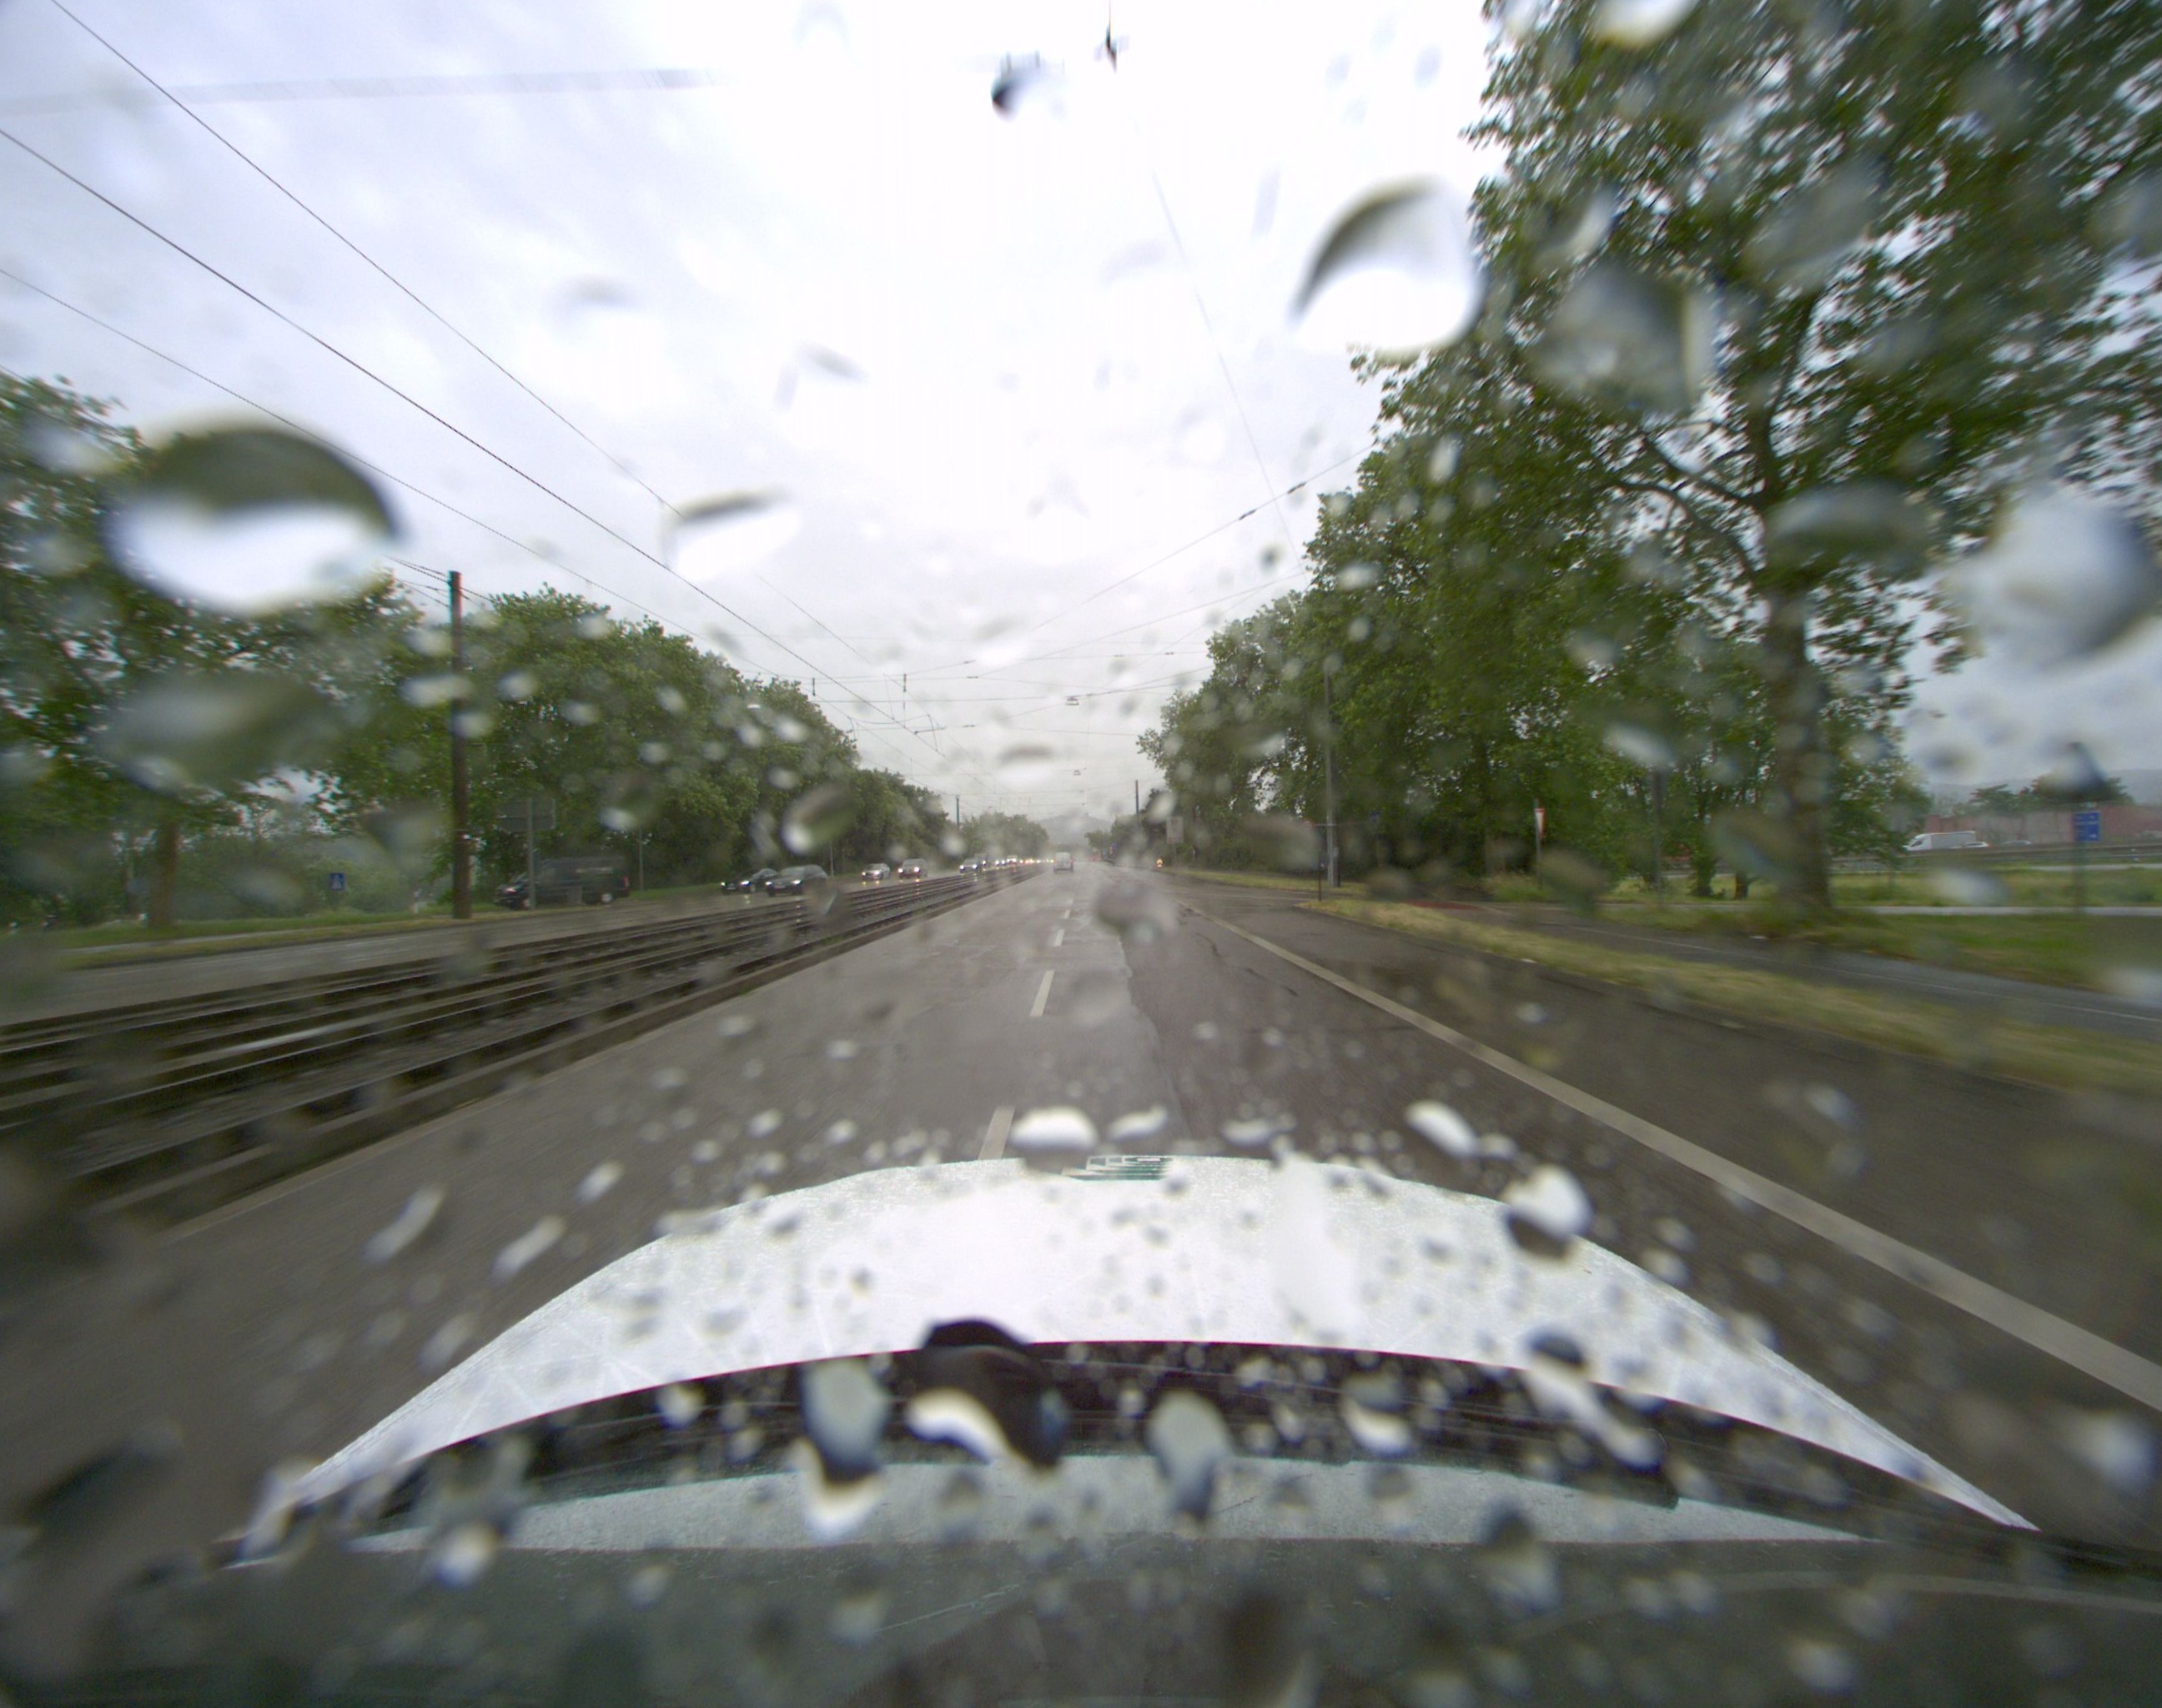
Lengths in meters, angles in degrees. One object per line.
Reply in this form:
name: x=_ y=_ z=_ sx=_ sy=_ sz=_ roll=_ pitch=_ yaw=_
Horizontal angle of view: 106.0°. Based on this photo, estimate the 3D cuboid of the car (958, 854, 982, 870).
car: x=-11.908 y=0.802 z=88.016 sx=1.770 sy=1.585 sz=5.681 roll=0 pitch=1 yaw=0

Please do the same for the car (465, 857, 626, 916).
car: x=-25.086 y=1.438 z=38.389 sx=2.309 sy=2.425 sz=5.886 roll=0 pitch=1 yaw=38

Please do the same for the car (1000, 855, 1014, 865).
car: x=-13.259 y=1.013 z=146.153 sx=1.833 sy=1.716 sz=4.167 roll=0 pitch=1 yaw=3

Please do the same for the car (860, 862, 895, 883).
car: x=-18.442 y=1.667 z=74.025 sx=1.813 sy=1.706 sz=5.021 roll=0 pitch=1 yaw=0

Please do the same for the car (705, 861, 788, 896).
car: x=-19.432 y=1.387 z=47.564 sx=2.068 sy=1.798 sz=4.781 roll=0 pitch=1 yaw=13

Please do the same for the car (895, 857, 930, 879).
car: x=-14.944 y=1.195 z=72.666 sx=1.813 sy=1.705 sz=6.105 roll=0 pitch=1 yaw=0

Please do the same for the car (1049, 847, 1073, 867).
car: x=-1.755 y=0.273 z=72.848 sx=1.982 sy=1.684 sz=3.741 roll=0 pitch=1 yaw=2

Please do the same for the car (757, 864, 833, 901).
car: x=-14.171 y=1.371 z=40.698 sx=1.783 sy=1.549 sz=5.316 roll=0 pitch=1 yaw=2

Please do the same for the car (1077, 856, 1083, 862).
car: x=-0.246 y=1.308 z=225.491 sx=1.737 sy=1.508 sz=3.699 roll=0 pitch=1 yaw=0
